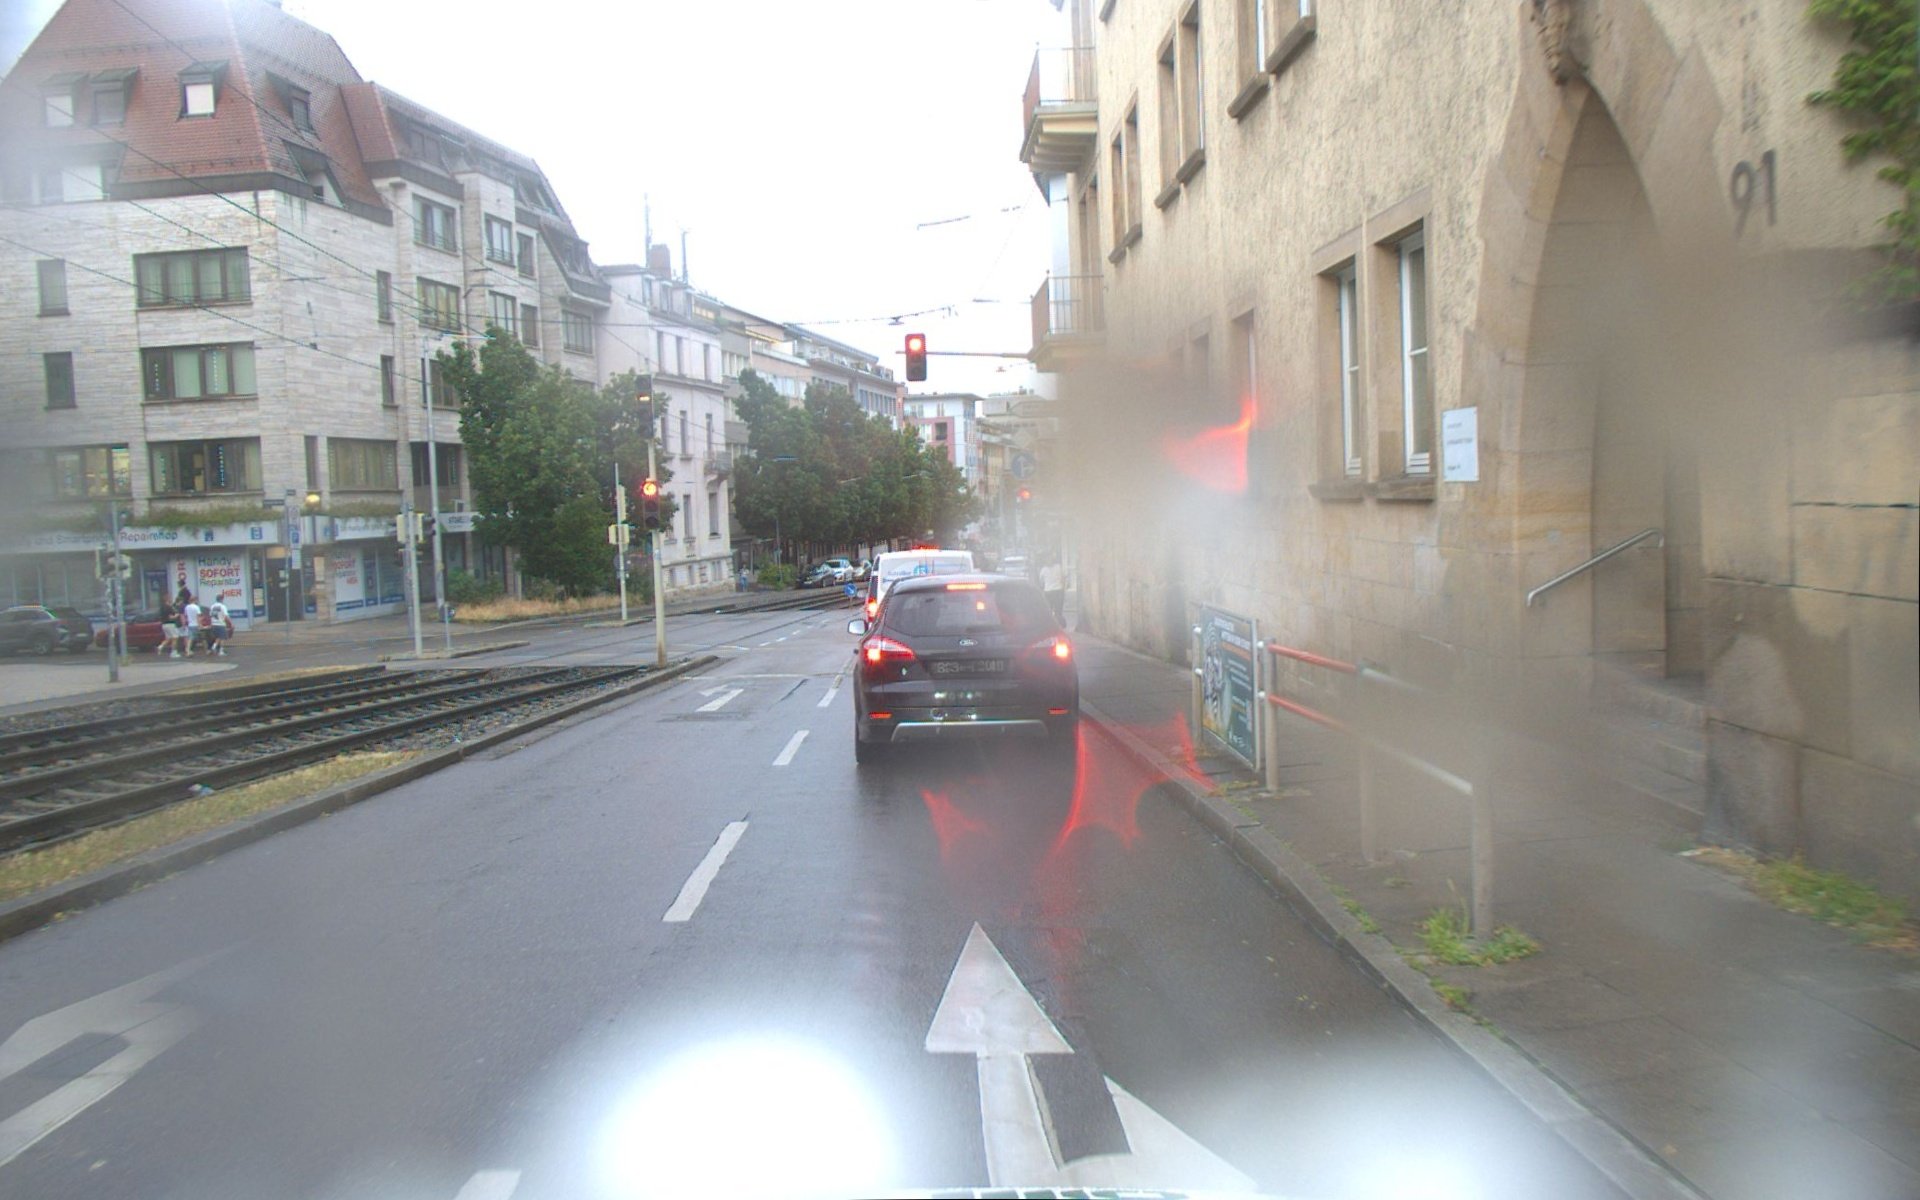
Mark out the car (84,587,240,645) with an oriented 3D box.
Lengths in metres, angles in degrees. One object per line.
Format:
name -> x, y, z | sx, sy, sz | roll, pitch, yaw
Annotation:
car -> -25.264, 0.490, 52.445 | 4.045, 1.595, 1.825 | -3, 1, 7

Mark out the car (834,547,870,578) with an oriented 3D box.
car -> -7.595, -2.656, 116.185 | 1.952, 2.048, 4.002 | -3, 1, 3

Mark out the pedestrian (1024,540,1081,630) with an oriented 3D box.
pedestrian -> 1.941, -0.318, 34.760 | 1.024, 1.826, 0.902 | -3, 1, -3

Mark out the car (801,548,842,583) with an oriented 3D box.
car -> -8.651, -2.178, 103.534 | 1.952, 2.048, 4.002 | -3, 1, 3

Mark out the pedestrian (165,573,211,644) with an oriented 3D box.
pedestrian -> -22.848, 0.240, 48.974 | 0.923, 2.048, 0.764 | -3, 1, -5

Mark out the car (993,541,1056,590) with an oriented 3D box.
car -> 2.601, -1.414, 66.144 | 1.951, 1.802, 4.004 | -3, 1, 9

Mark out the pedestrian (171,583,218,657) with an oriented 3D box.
pedestrian -> -21.987, 0.570, 47.511 | 0.923, 2.048, 0.764 | -3, 1, -5

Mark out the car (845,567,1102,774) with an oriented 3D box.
car -> 0.088, 0.487, 14.158 | 1.881, 1.505, 4.000 | -1, 1, 0

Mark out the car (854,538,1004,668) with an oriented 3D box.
car -> -0.576, -0.016, 26.385 | 2.095, 1.775, 4.216 | -4, 2, -4

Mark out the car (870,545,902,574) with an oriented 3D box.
car -> -5.687, -3.123, 127.587 | 1.952, 2.048, 4.002 | -3, 1, 3

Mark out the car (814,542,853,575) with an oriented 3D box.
car -> -8.394, -2.765, 109.828 | 1.952, 2.048, 4.002 | -3, 1, 3

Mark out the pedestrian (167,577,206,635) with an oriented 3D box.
pedestrian -> -26.894, 0.207, 57.538 | 0.887, 1.965, 0.825 | -3, 1, -5

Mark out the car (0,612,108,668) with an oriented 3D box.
car -> -29.953, 1.322, 53.297 | 4.045, 1.595, 1.825 | -3, 1, 7

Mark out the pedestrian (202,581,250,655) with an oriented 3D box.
pedestrian -> -21.032, 0.516, 47.387 | 0.922, 2.048, 0.765 | -3, 1, -2

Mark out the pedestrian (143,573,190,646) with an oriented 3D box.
pedestrian -> -22.901, 0.271, 47.748 | 0.923, 2.048, 0.764 | -3, 1, -5

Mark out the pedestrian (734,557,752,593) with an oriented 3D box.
pedestrian -> -12.591, -1.436, 95.987 | 0.925, 2.048, 0.763 | -3, 1, -11
